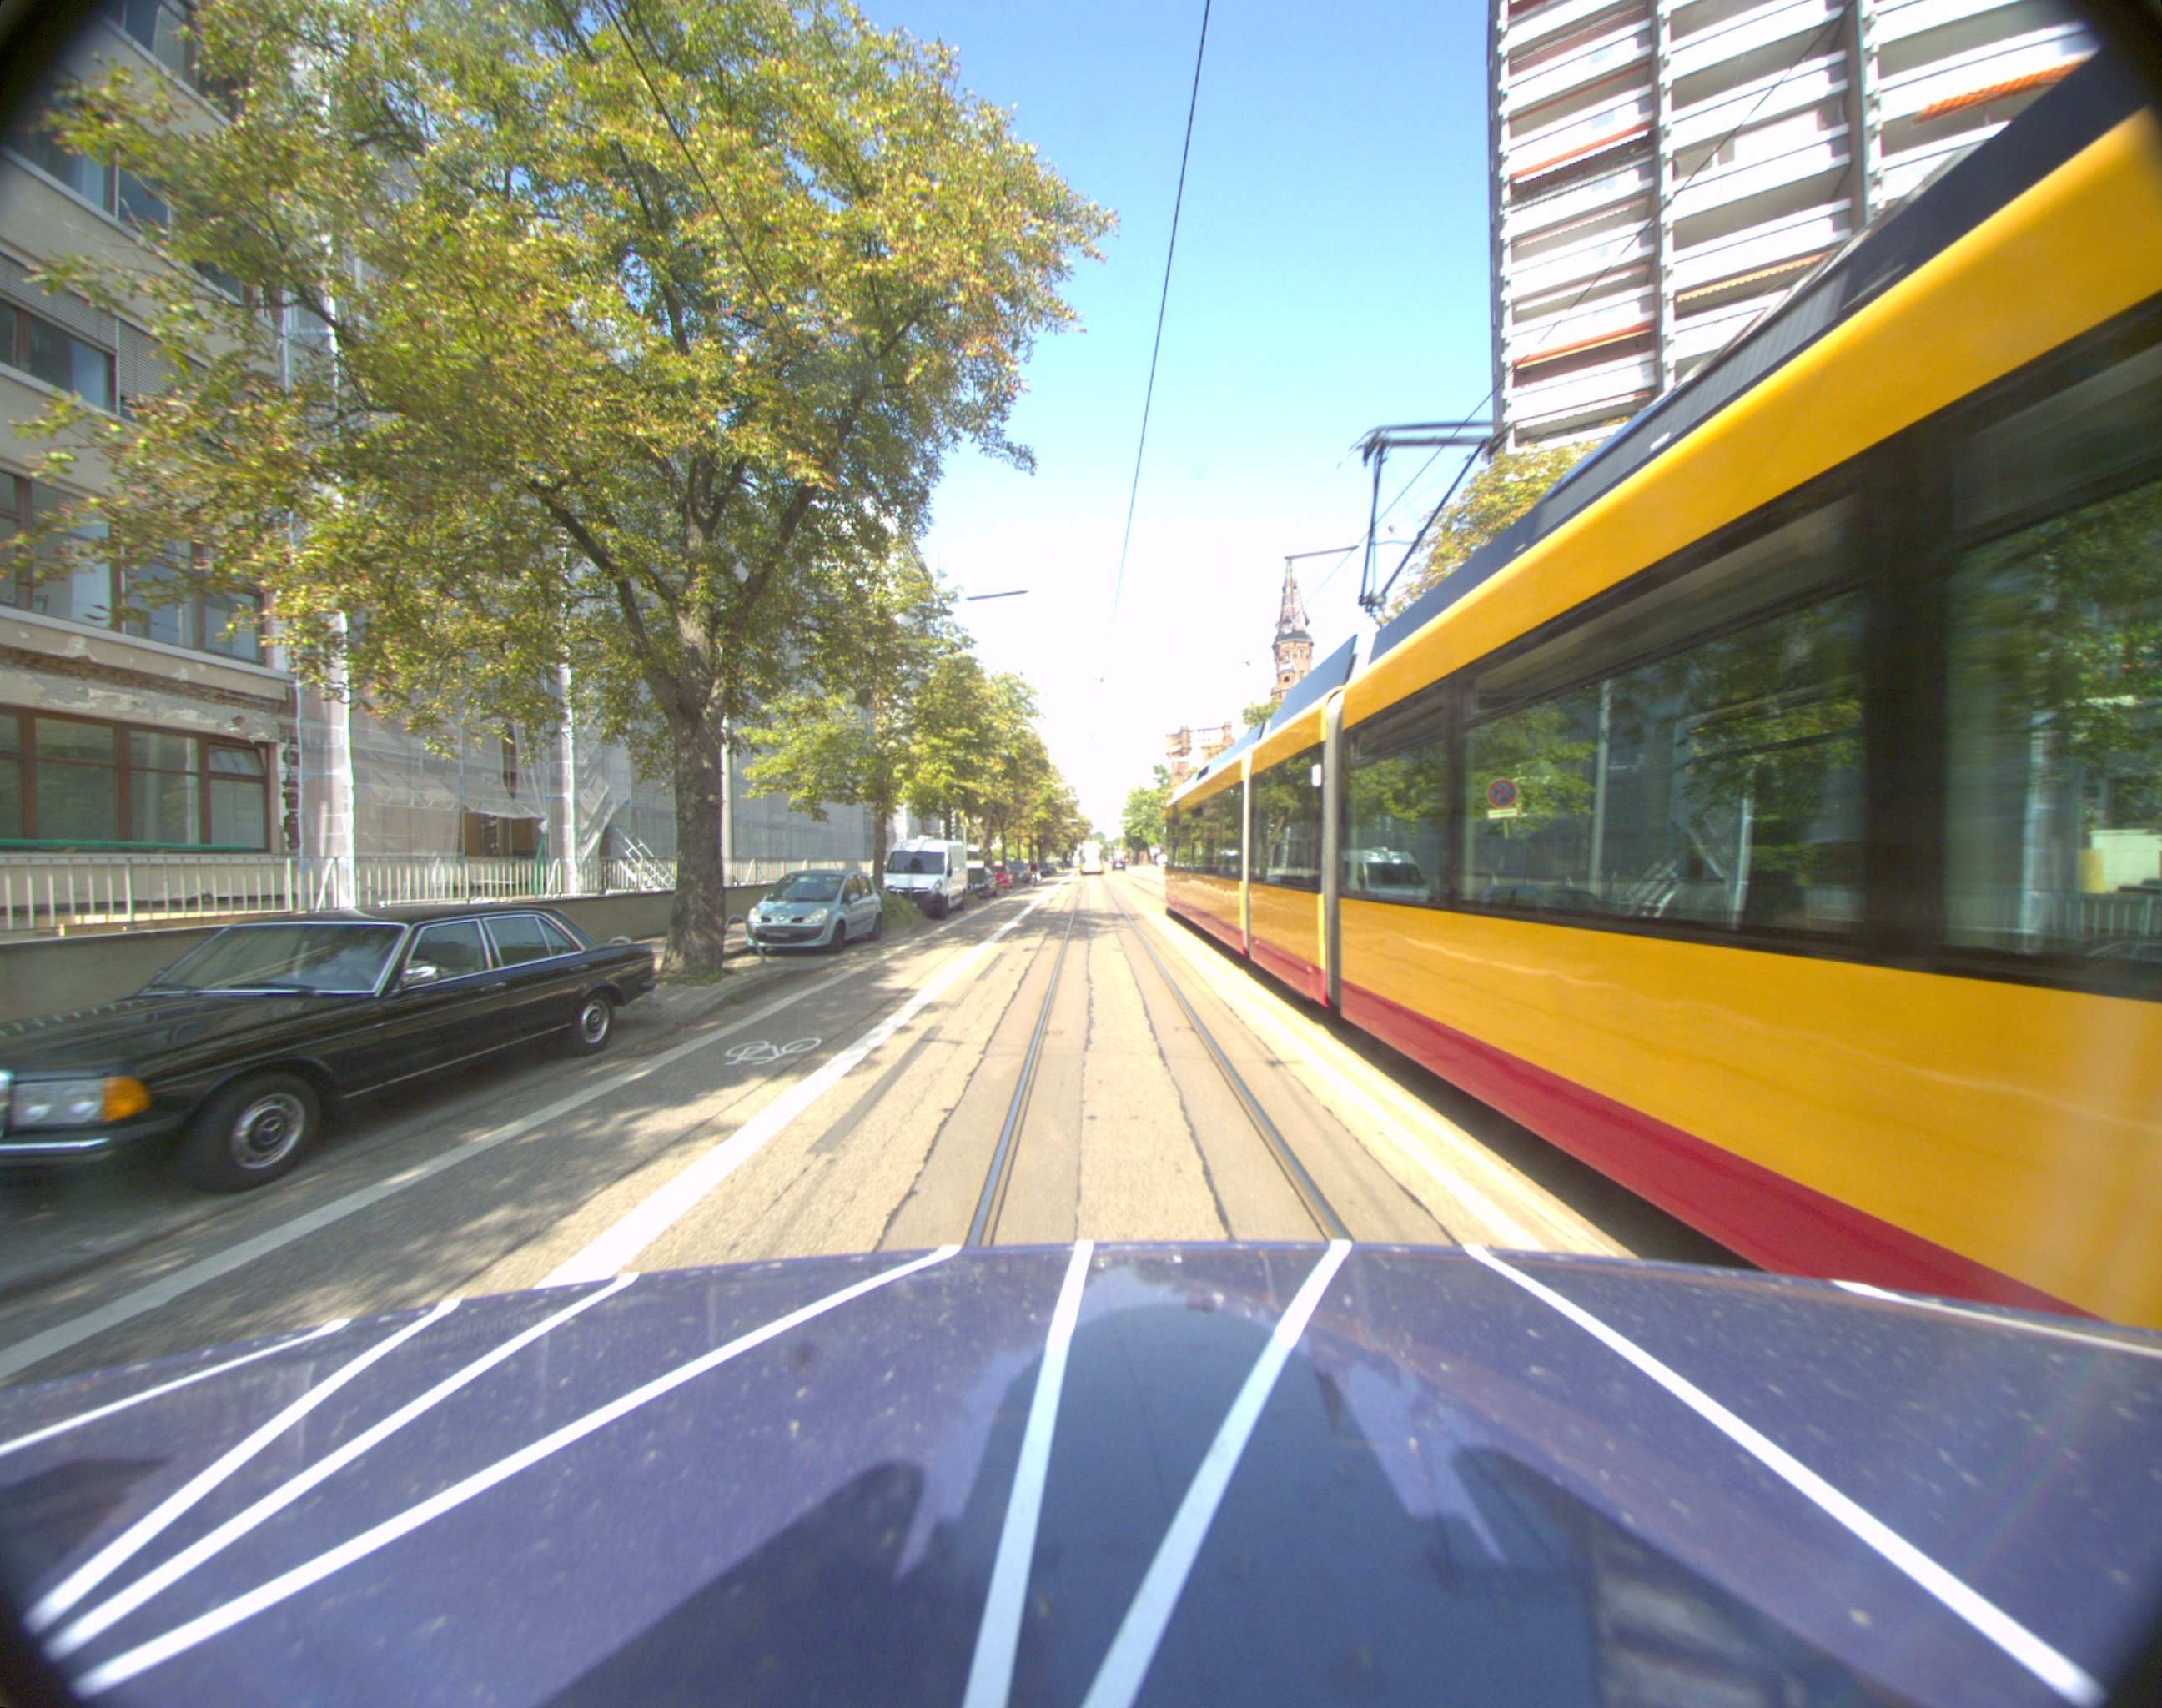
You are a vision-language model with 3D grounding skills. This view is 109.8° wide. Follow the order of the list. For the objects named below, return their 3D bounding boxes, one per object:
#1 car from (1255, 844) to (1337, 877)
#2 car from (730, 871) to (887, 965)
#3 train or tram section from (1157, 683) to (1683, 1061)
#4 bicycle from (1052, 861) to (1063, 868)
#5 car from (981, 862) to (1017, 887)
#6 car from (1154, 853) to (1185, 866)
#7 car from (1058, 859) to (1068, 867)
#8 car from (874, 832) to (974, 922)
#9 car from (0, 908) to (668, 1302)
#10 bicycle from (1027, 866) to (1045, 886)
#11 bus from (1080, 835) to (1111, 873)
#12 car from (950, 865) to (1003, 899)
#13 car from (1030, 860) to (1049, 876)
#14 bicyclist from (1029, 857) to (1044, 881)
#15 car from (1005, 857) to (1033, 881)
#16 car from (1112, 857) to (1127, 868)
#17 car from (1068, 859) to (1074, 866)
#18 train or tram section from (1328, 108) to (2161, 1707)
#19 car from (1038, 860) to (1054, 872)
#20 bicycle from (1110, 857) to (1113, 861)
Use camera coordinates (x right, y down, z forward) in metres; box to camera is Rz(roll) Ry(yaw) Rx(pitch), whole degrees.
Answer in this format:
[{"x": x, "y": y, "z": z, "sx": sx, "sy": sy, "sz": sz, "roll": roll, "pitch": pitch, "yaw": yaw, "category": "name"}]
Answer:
[{"x": 11.444, "y": 0.321, "z": 40.473, "sx": 4.005, "sy": 1.470, "sz": 1.785, "roll": -4, "pitch": 0, "yaw": -28, "category": "car"}, {"x": -5.262, "y": 1.162, "z": 15.228, "sx": 1.668, "sy": 1.607, "sz": 3.877, "roll": 0, "pitch": -1, "yaw": 1, "category": "car"}, {"x": 3.405, "y": 0.146, "z": 13.627, "sx": 2.735, "sy": 2.877, "sz": 15.455, "roll": -1, "pitch": 0, "yaw": 1, "category": "train or tram section"}, {"x": -3.813, "y": 1.731, "z": 121.903, "sx": 1.773, "sy": 1.057, "sz": 0.796, "roll": 0, "pitch": 0, "yaw": -1, "category": "bicycle"}, {"x": -4.869, "y": 1.207, "z": 45.446, "sx": 1.620, "sy": 1.405, "sz": 4.000, "roll": -1, "pitch": 0, "yaw": 1, "category": "car"}, {"x": 13.784, "y": 0.814, "z": 118.534, "sx": 4.407, "sy": 1.636, "sz": 1.957, "roll": -6, "pitch": 0, "yaw": 2, "category": "car"}, {"x": -3.269, "y": 1.664, "z": 139.833, "sx": 1.745, "sy": 1.477, "sz": 4.437, "roll": 0, "pitch": -1, "yaw": 0, "category": "car"}, {"x": -4.949, "y": 0.682, "z": 24.778, "sx": 2.088, "sy": 2.537, "sz": 5.501, "roll": 2, "pitch": 0, "yaw": 0, "category": "car"}, {"x": -5.269, "y": 1.254, "z": 5.649, "sx": 1.758, "sy": 1.369, "sz": 4.719, "roll": 0, "pitch": 0, "yaw": 1, "category": "car"}, {"x": -2.712, "y": 1.317, "z": 45.716, "sx": 0.789, "sy": 1.138, "sz": 2.305, "roll": -2, "pitch": 0, "yaw": 3, "category": "bicycle"}, {"x": 1.678, "y": 0.043, "z": 81.890, "sx": 2.900, "sy": 3.771, "sz": 9.320, "roll": -2, "pitch": 0, "yaw": 3, "category": "bus"}, {"x": -4.699, "y": 1.236, "z": 34.919, "sx": 1.620, "sy": 1.366, "sz": 4.828, "roll": -1, "pitch": 0, "yaw": 2, "category": "car"}, {"x": -4.310, "y": 1.430, "z": 78.695, "sx": 1.650, "sy": 1.502, "sz": 3.778, "roll": 0, "pitch": 0, "yaw": 1, "category": "car"}, {"x": -2.707, "y": 0.907, "z": 46.156, "sx": 0.789, "sy": 1.461, "sz": 1.116, "roll": -2, "pitch": 0, "yaw": 3, "category": "bicyclist"}, {"x": -4.518, "y": 1.087, "z": 55.889, "sx": 1.758, "sy": 1.681, "sz": 4.396, "roll": -2, "pitch": -1, "yaw": -1, "category": "car"}, {"x": 5.201, "y": 1.142, "z": 103.076, "sx": 1.833, "sy": 1.368, "sz": 4.512, "roll": -1, "pitch": 0, "yaw": 0, "category": "car"}, {"x": -2.379, "y": 1.987, "z": 180.261, "sx": 1.566, "sy": 1.433, "sz": 3.563, "roll": 1, "pitch": 0, "yaw": -2, "category": "car"}, {"x": 3.214, "y": 0.145, "z": 2.470, "sx": 2.735, "sy": 2.833, "sz": 6.543, "roll": -1, "pitch": 0, "yaw": 1, "category": "train or tram section"}, {"x": -4.172, "y": 1.449, "z": 91.055, "sx": 1.650, "sy": 1.420, "sz": 4.085, "roll": 0, "pitch": 0, "yaw": 0, "category": "car"}, {"x": 9.098, "y": 1.522, "z": 224.398, "sx": 0.699, "sy": 1.151, "sz": 2.037, "roll": -1, "pitch": 0, "yaw": -1, "category": "bicycle"}]
